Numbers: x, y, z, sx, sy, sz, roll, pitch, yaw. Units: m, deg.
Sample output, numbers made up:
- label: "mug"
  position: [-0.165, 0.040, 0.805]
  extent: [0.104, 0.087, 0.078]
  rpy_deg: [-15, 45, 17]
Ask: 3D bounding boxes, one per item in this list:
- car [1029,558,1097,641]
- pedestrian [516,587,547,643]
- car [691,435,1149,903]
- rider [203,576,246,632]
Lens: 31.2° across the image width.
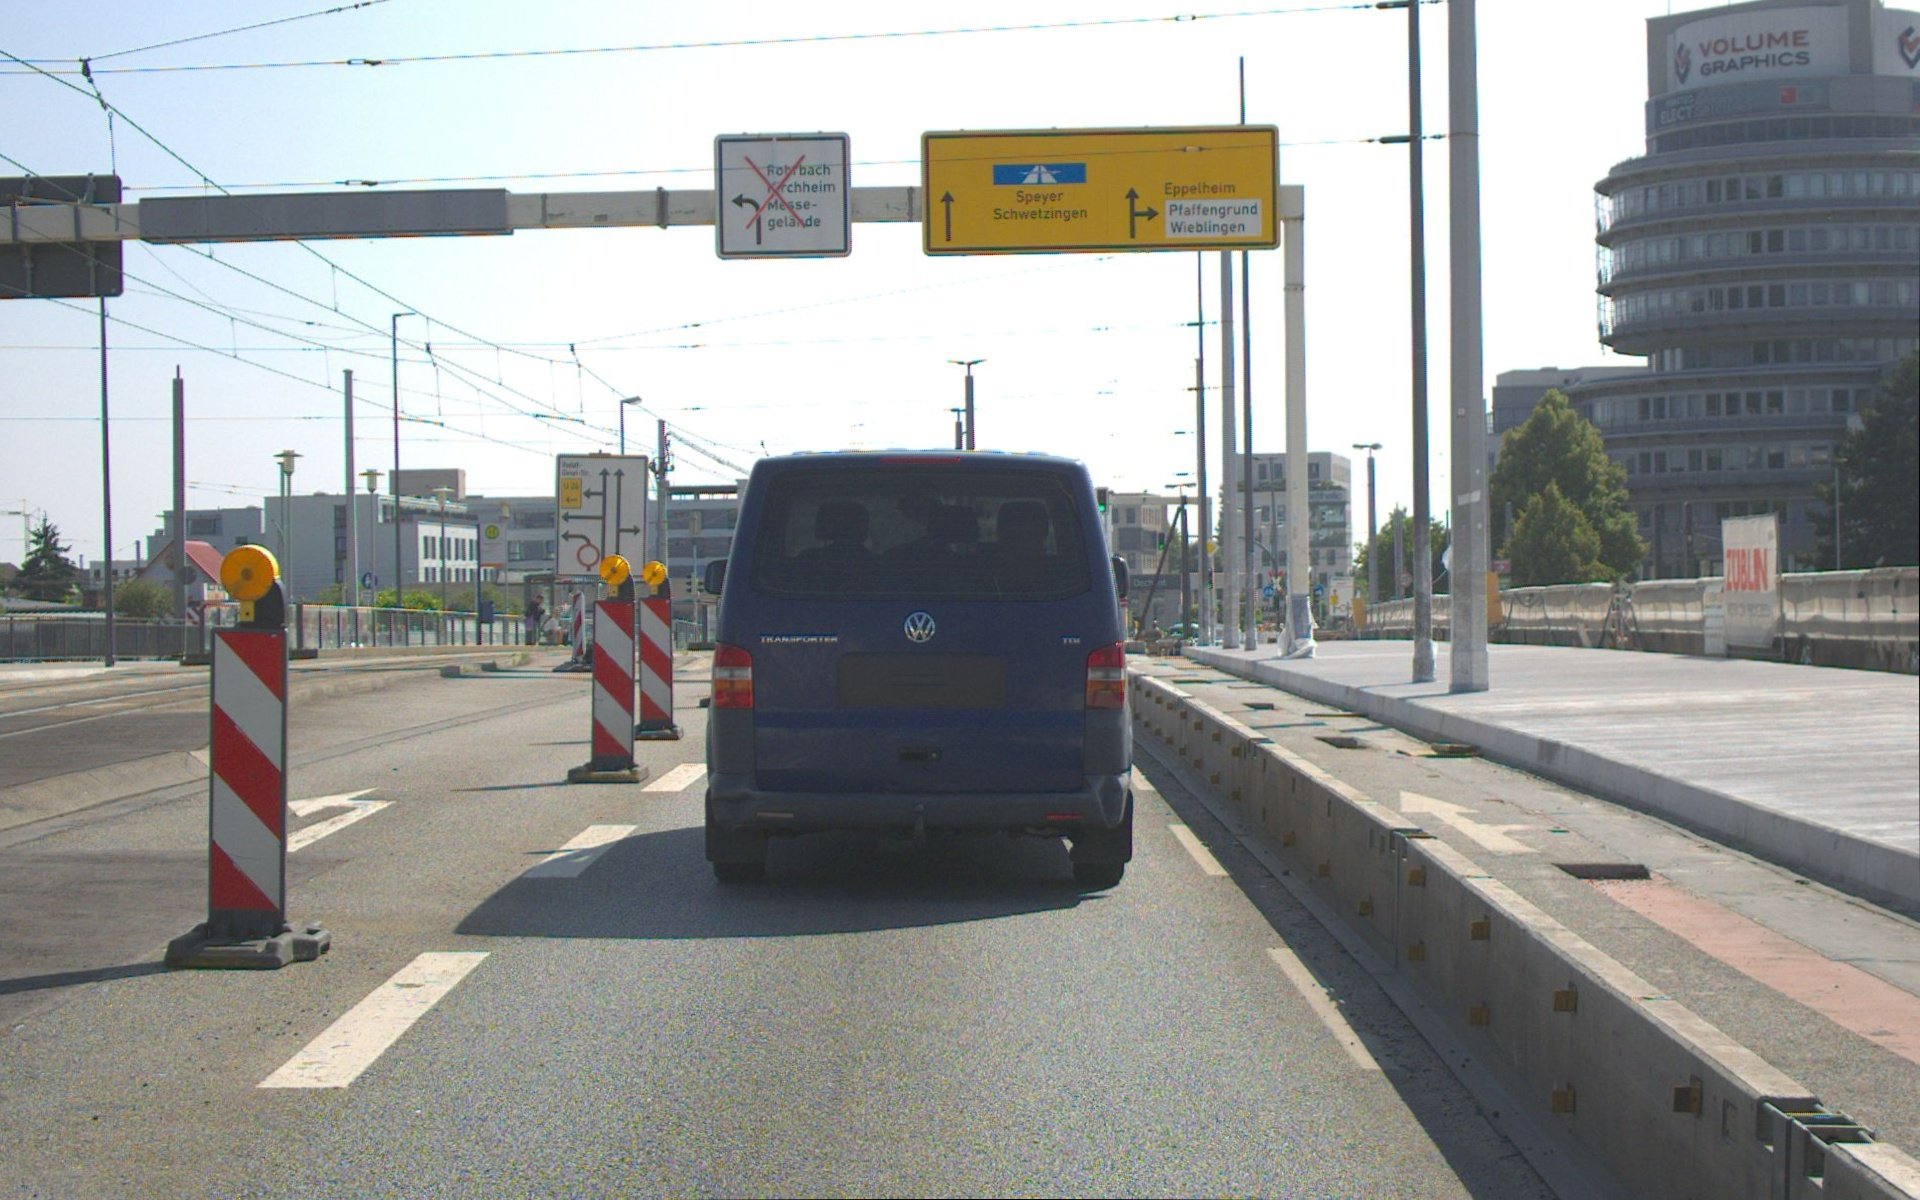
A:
- label: "car"
  position: [3.658, -0.046, 123.235]
  extent: [2.339, 2.877, 5.970]
  rpy_deg: [1, 0, 1]
- label: "pedestrian"
  position: [-12.745, 0.443, 102.198]
  extent: [0.660, 1.649, 0.739]
  rpy_deg: [-1, 0, 14]
- label: "car"
  position: [-0.184, 0.278, 16.367]
  extent: [1.888, 1.927, 4.000]
  rpy_deg: [1, 0, 0]
- label: "rider"
  position: [-22.995, 0.104, 107.509]
  extent: [0.763, 1.727, 2.952]
  rpy_deg: [0, 0, -1]
